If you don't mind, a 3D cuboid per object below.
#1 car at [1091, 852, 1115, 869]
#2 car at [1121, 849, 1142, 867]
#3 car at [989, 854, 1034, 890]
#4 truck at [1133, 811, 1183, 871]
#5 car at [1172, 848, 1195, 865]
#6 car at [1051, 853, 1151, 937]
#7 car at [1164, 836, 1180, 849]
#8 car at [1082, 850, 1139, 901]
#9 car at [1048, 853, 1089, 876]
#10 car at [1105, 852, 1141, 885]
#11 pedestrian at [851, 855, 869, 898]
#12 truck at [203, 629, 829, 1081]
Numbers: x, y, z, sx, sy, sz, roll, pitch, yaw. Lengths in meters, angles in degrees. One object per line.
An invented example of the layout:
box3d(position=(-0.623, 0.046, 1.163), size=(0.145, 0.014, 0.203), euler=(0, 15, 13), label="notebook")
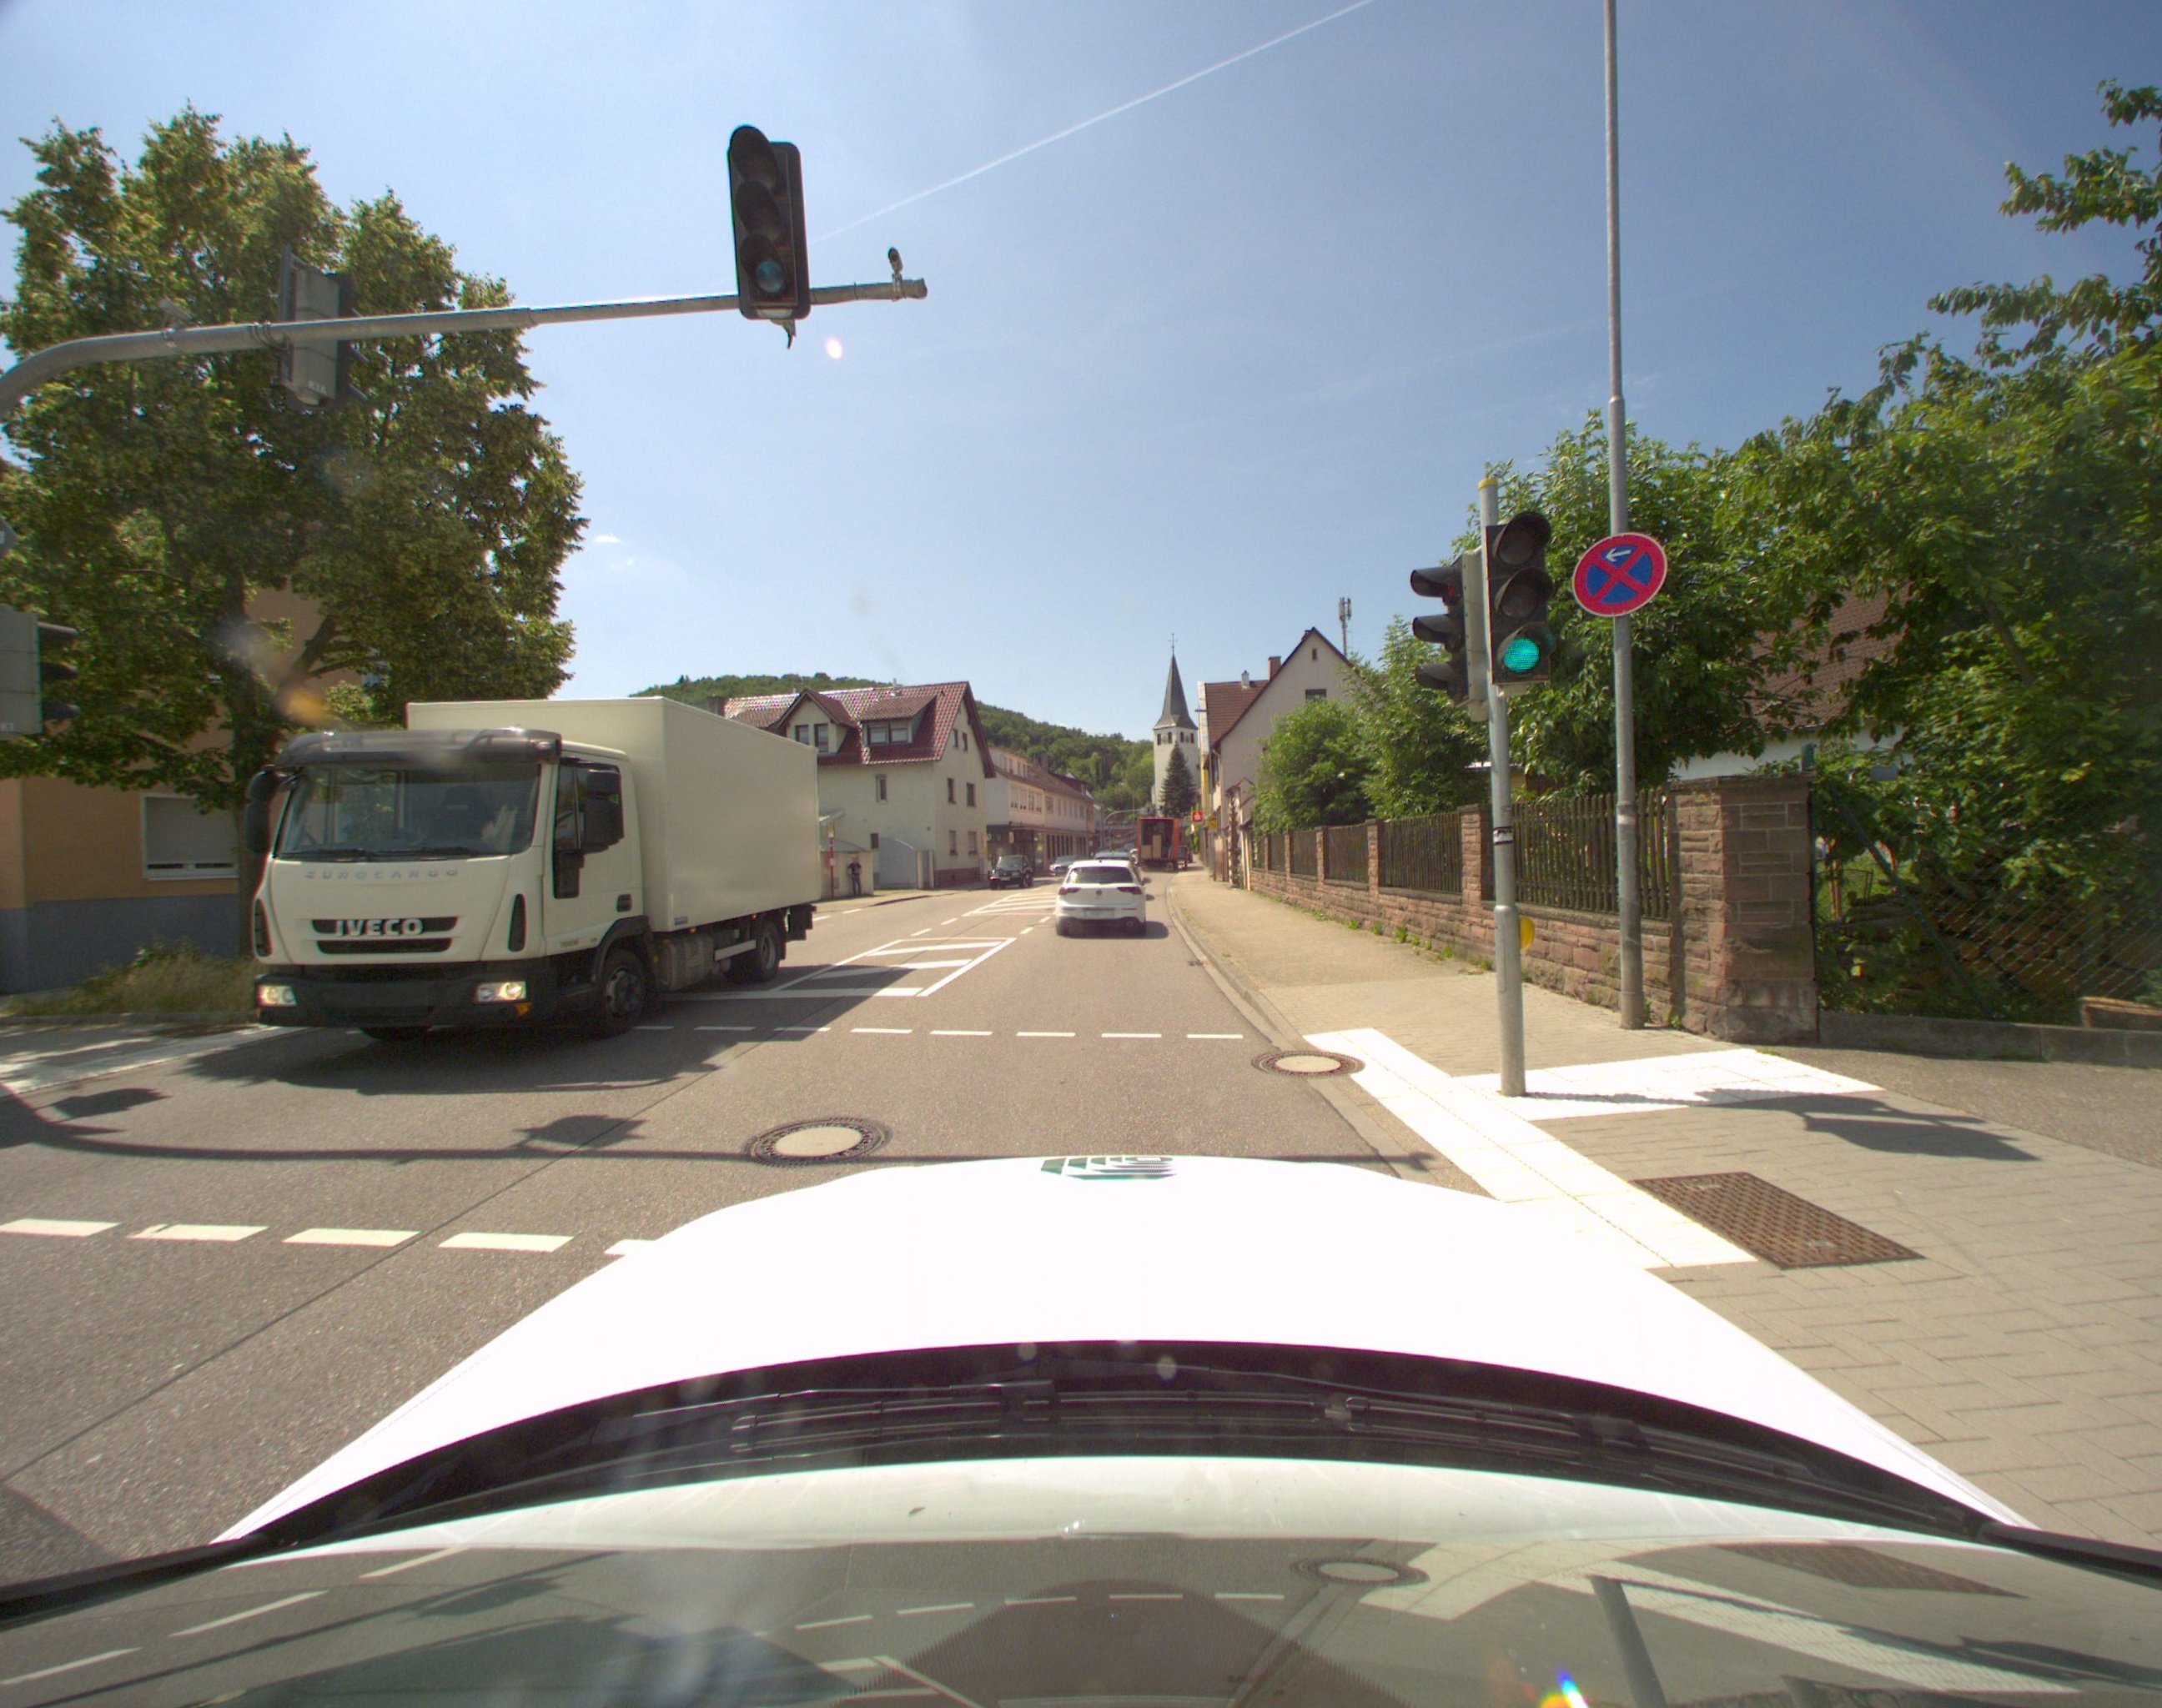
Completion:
box3d(position=(2.126, 0.590, 77.693), size=(1.785, 1.508, 4.142), euler=(-3, -1, 8), label="car")
box3d(position=(4.603, 0.403, 74.013), size=(1.807, 1.519, 4.004), euler=(-3, -1, 4), label="car")
box3d(position=(-3.420, 0.865, 40.804), size=(1.732, 1.651, 3.671), euler=(-2, 0, 3), label="car")
box3d(position=(6.038, -0.893, 63.155), size=(3.350, 4.170, 9.534), euler=(-3, -1, 6), label="truck")
box3d(position=(9.810, 0.249, 78.098), size=(1.807, 1.519, 4.004), euler=(-3, -1, 4), label="car")
box3d(position=(0.498, 0.775, 16.990), size=(1.807, 1.519, 4.004), euler=(-1, -1, 4), label="car")
box3d(position=(11.636, -1.415, 104.085), size=(1.807, 1.519, 4.004), euler=(-3, -1, 4), label="car")
box3d(position=(1.100, 0.738, 29.107), size=(1.807, 1.629, 4.004), euler=(-3, -1, 4), label="car")
box3d(position=(-0.831, 0.677, 56.144), size=(1.850, 1.442, 4.231), euler=(-3, -1, 12), label="car")
box3d(position=(2.304, 0.763, 44.019), size=(1.807, 1.629, 4.004), euler=(-3, -1, 4), label="car")
box3d(position=(-9.223, 0.918, 34.019), size=(0.430, 1.764, 0.560), euler=(-2, 0, 22), label="pedestrian")
box3d(position=(-5.003, -0.004, 8.879), size=(2.493, 3.235, 6.041), euler=(0, 0, 1), label="truck")
